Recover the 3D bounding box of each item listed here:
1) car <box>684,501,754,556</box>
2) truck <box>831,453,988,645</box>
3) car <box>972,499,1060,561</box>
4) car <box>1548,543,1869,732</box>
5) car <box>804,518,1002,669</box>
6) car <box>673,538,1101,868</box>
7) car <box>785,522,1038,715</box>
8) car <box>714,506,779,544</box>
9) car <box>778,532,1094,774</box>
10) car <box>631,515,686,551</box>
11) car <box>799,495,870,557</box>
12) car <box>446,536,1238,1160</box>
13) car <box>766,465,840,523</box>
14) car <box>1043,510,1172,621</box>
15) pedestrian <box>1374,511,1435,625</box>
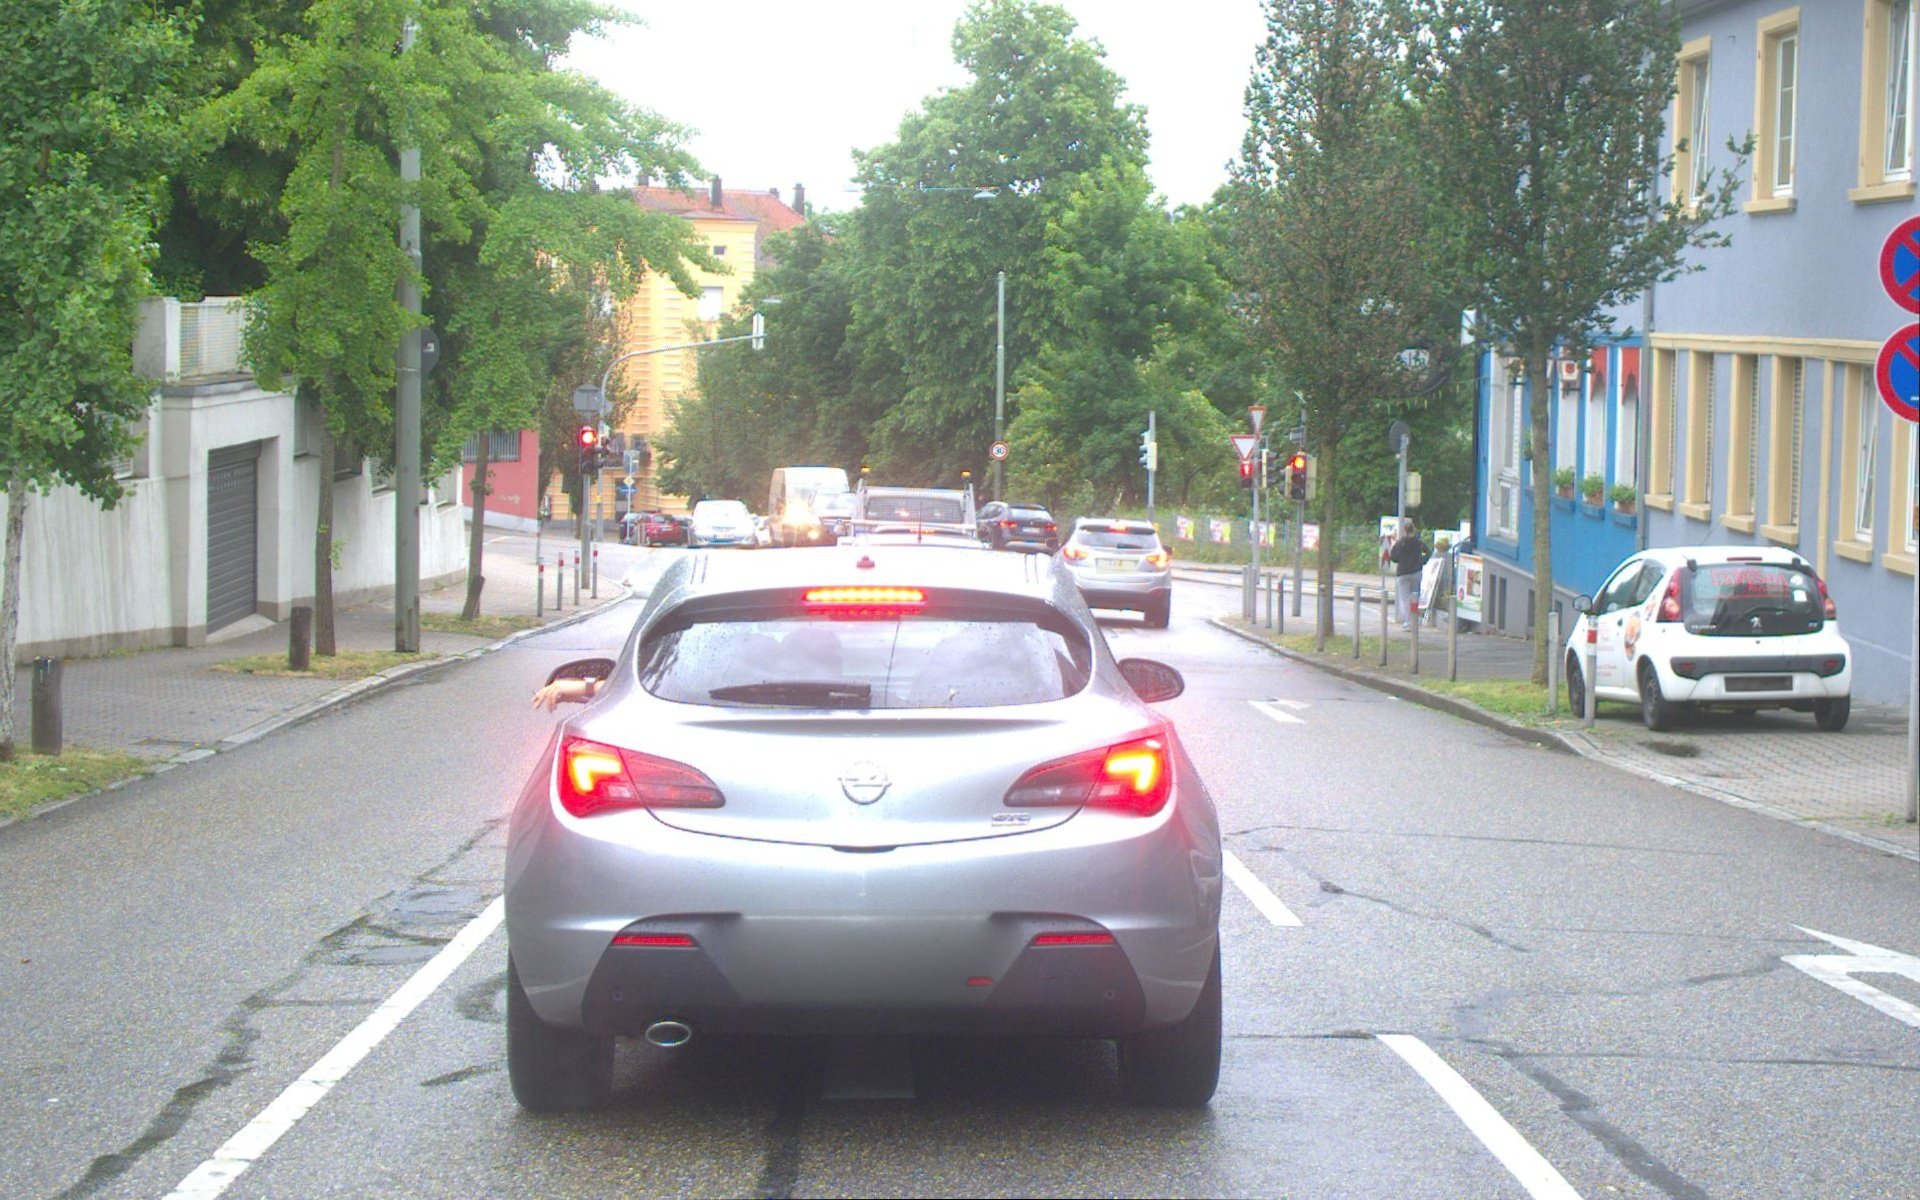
[{"bbox_3d":[-6.462,-1.924,92.571,1.722,1.455,3.880,0,1,-2],"label":"car"},{"bbox_3d":[-0.729,-0.732,47.081,1.962,2.420,4.936,2,1,-2],"label":"truck"},{"bbox_3d":[1.502,-1.896,93.254,1.722,1.632,3.881,0,1,-9],"label":"car"},{"bbox_3d":[6.153,0.262,28.689,1.722,1.443,3.880,0,1,-2],"label":"car"},{"bbox_3d":[-0.642,-0.118,37.089,1.962,1.443,4.306,2,1,-2],"label":"car"},{"bbox_3d":[-0.406,0.449,18.331,1.962,1.443,4.306,2,1,-2],"label":"car"},{"bbox_3d":[-0.447,0.098,29.430,1.962,1.443,4.306,2,1,-2],"label":"car"},{"bbox_3d":[-8.677,-3.044,139.319,1.722,1.538,3.881,0,1,-18],"label":"car"},{"bbox_3d":[-0.218,0.297,24.051,1.962,1.443,4.306,2,1,-2],"label":"car"},{"bbox_3d":[-13.879,-3.083,158.090,1.722,1.632,3.881,0,1,-18],"label":"car"},{"bbox_3d":[-3.368,-1.983,92.590,1.870,1.632,3.880,0,1,-2],"label":"car"},{"bbox_3d":[-0.356,0.550,10.010,1.837,1.429,3.880,1,1,-2],"label":"car"},{"bbox_3d":[-4.602,-3.071,100.211,1.722,1.632,3.881,0,1,-9],"label":"car"},{"bbox_3d":[2.328,-0.575,55.115,1.722,1.708,3.880,0,1,-2],"label":"car"},{"bbox_3d":[6.893,-0.500,53.306,0.783,1.723,0.651,2,1,0],"label":"pedestrian"}]
